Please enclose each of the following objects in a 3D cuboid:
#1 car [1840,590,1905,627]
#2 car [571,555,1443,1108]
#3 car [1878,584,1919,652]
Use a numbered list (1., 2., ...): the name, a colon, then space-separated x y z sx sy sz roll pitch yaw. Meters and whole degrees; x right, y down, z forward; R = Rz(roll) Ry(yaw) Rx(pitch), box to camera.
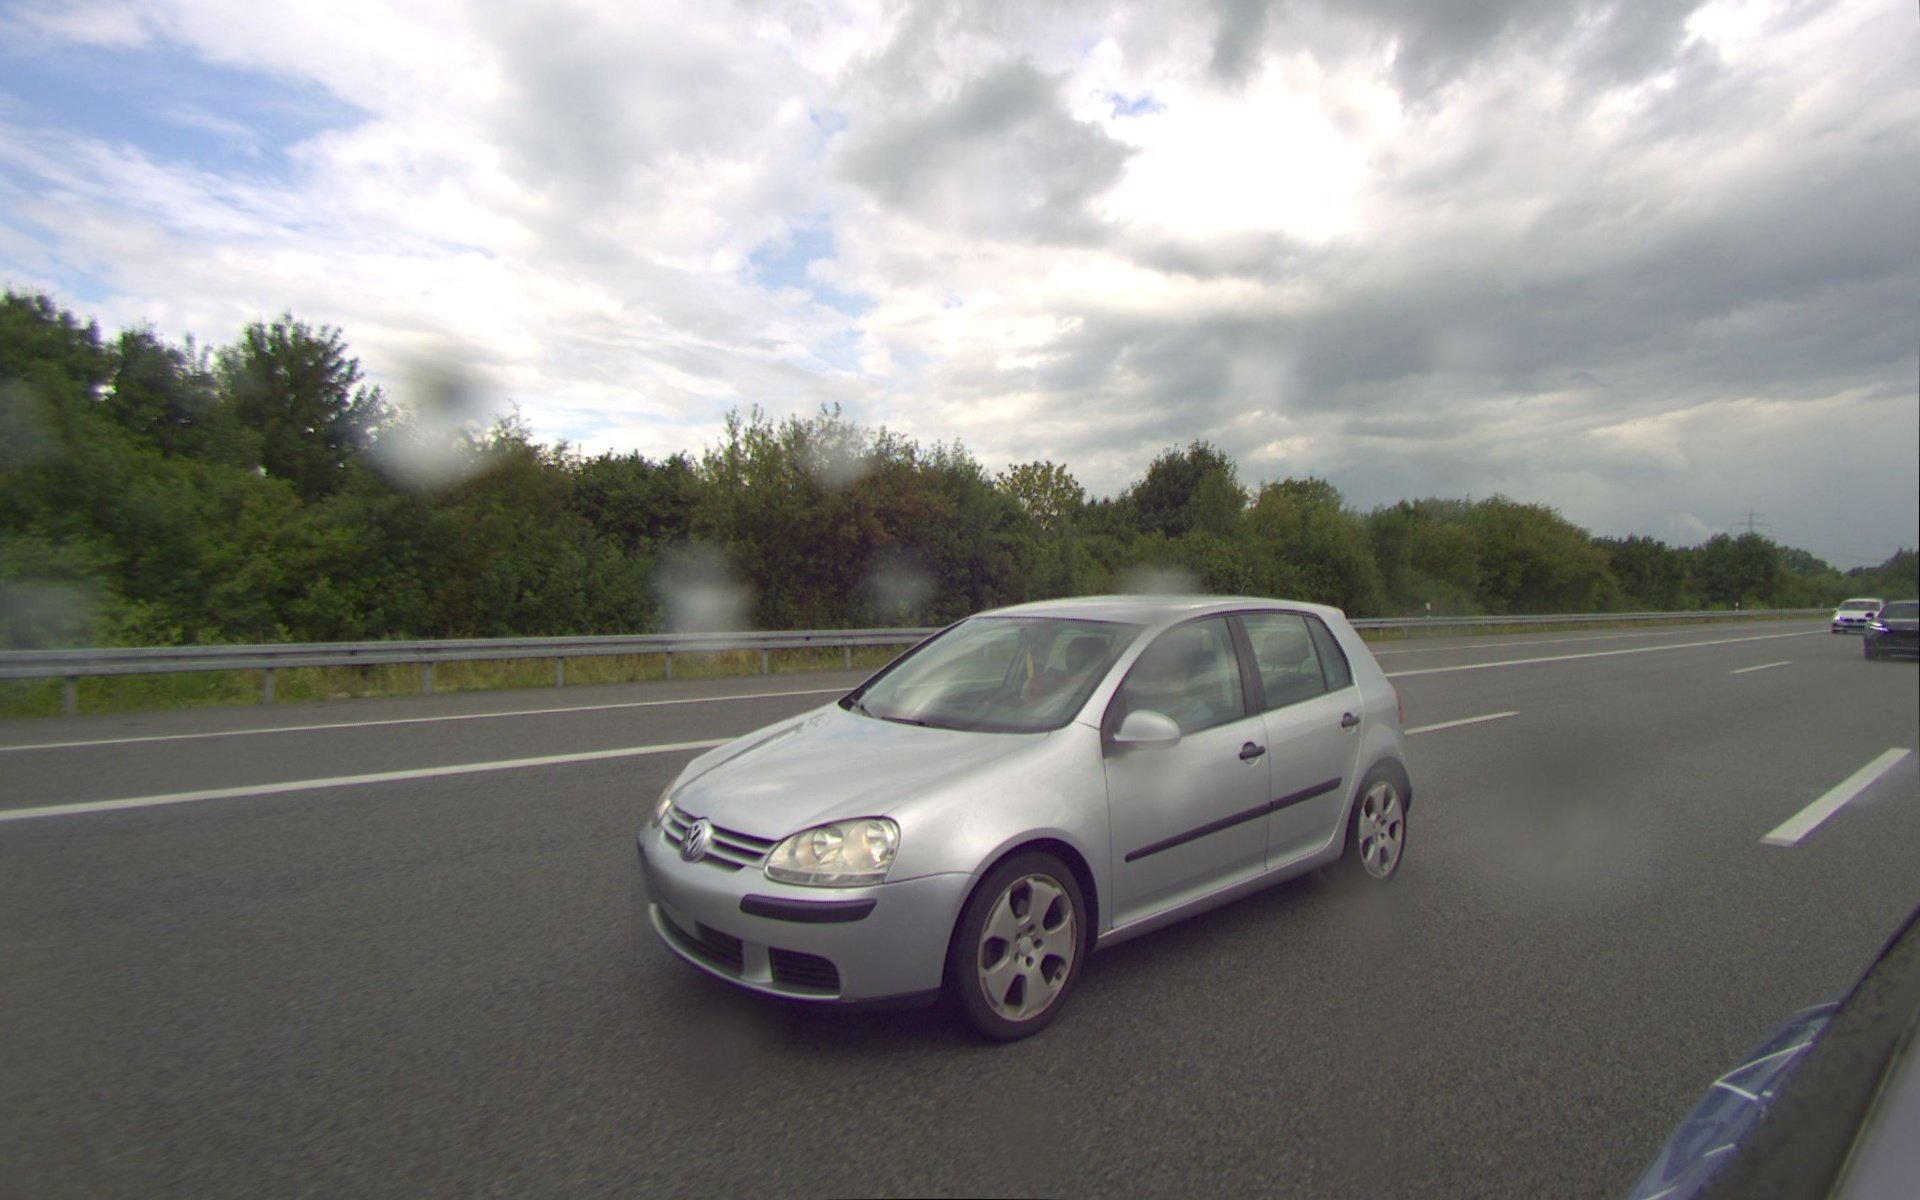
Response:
1. car: 41.809 0.372 46.327 4.616 1.619 1.812 0 1 -43
2. car: 0.500 0.613 4.741 3.968 1.495 1.798 0 1 -42
3. car: 25.013 0.440 25.965 4.520 1.633 1.783 0 1 -43
